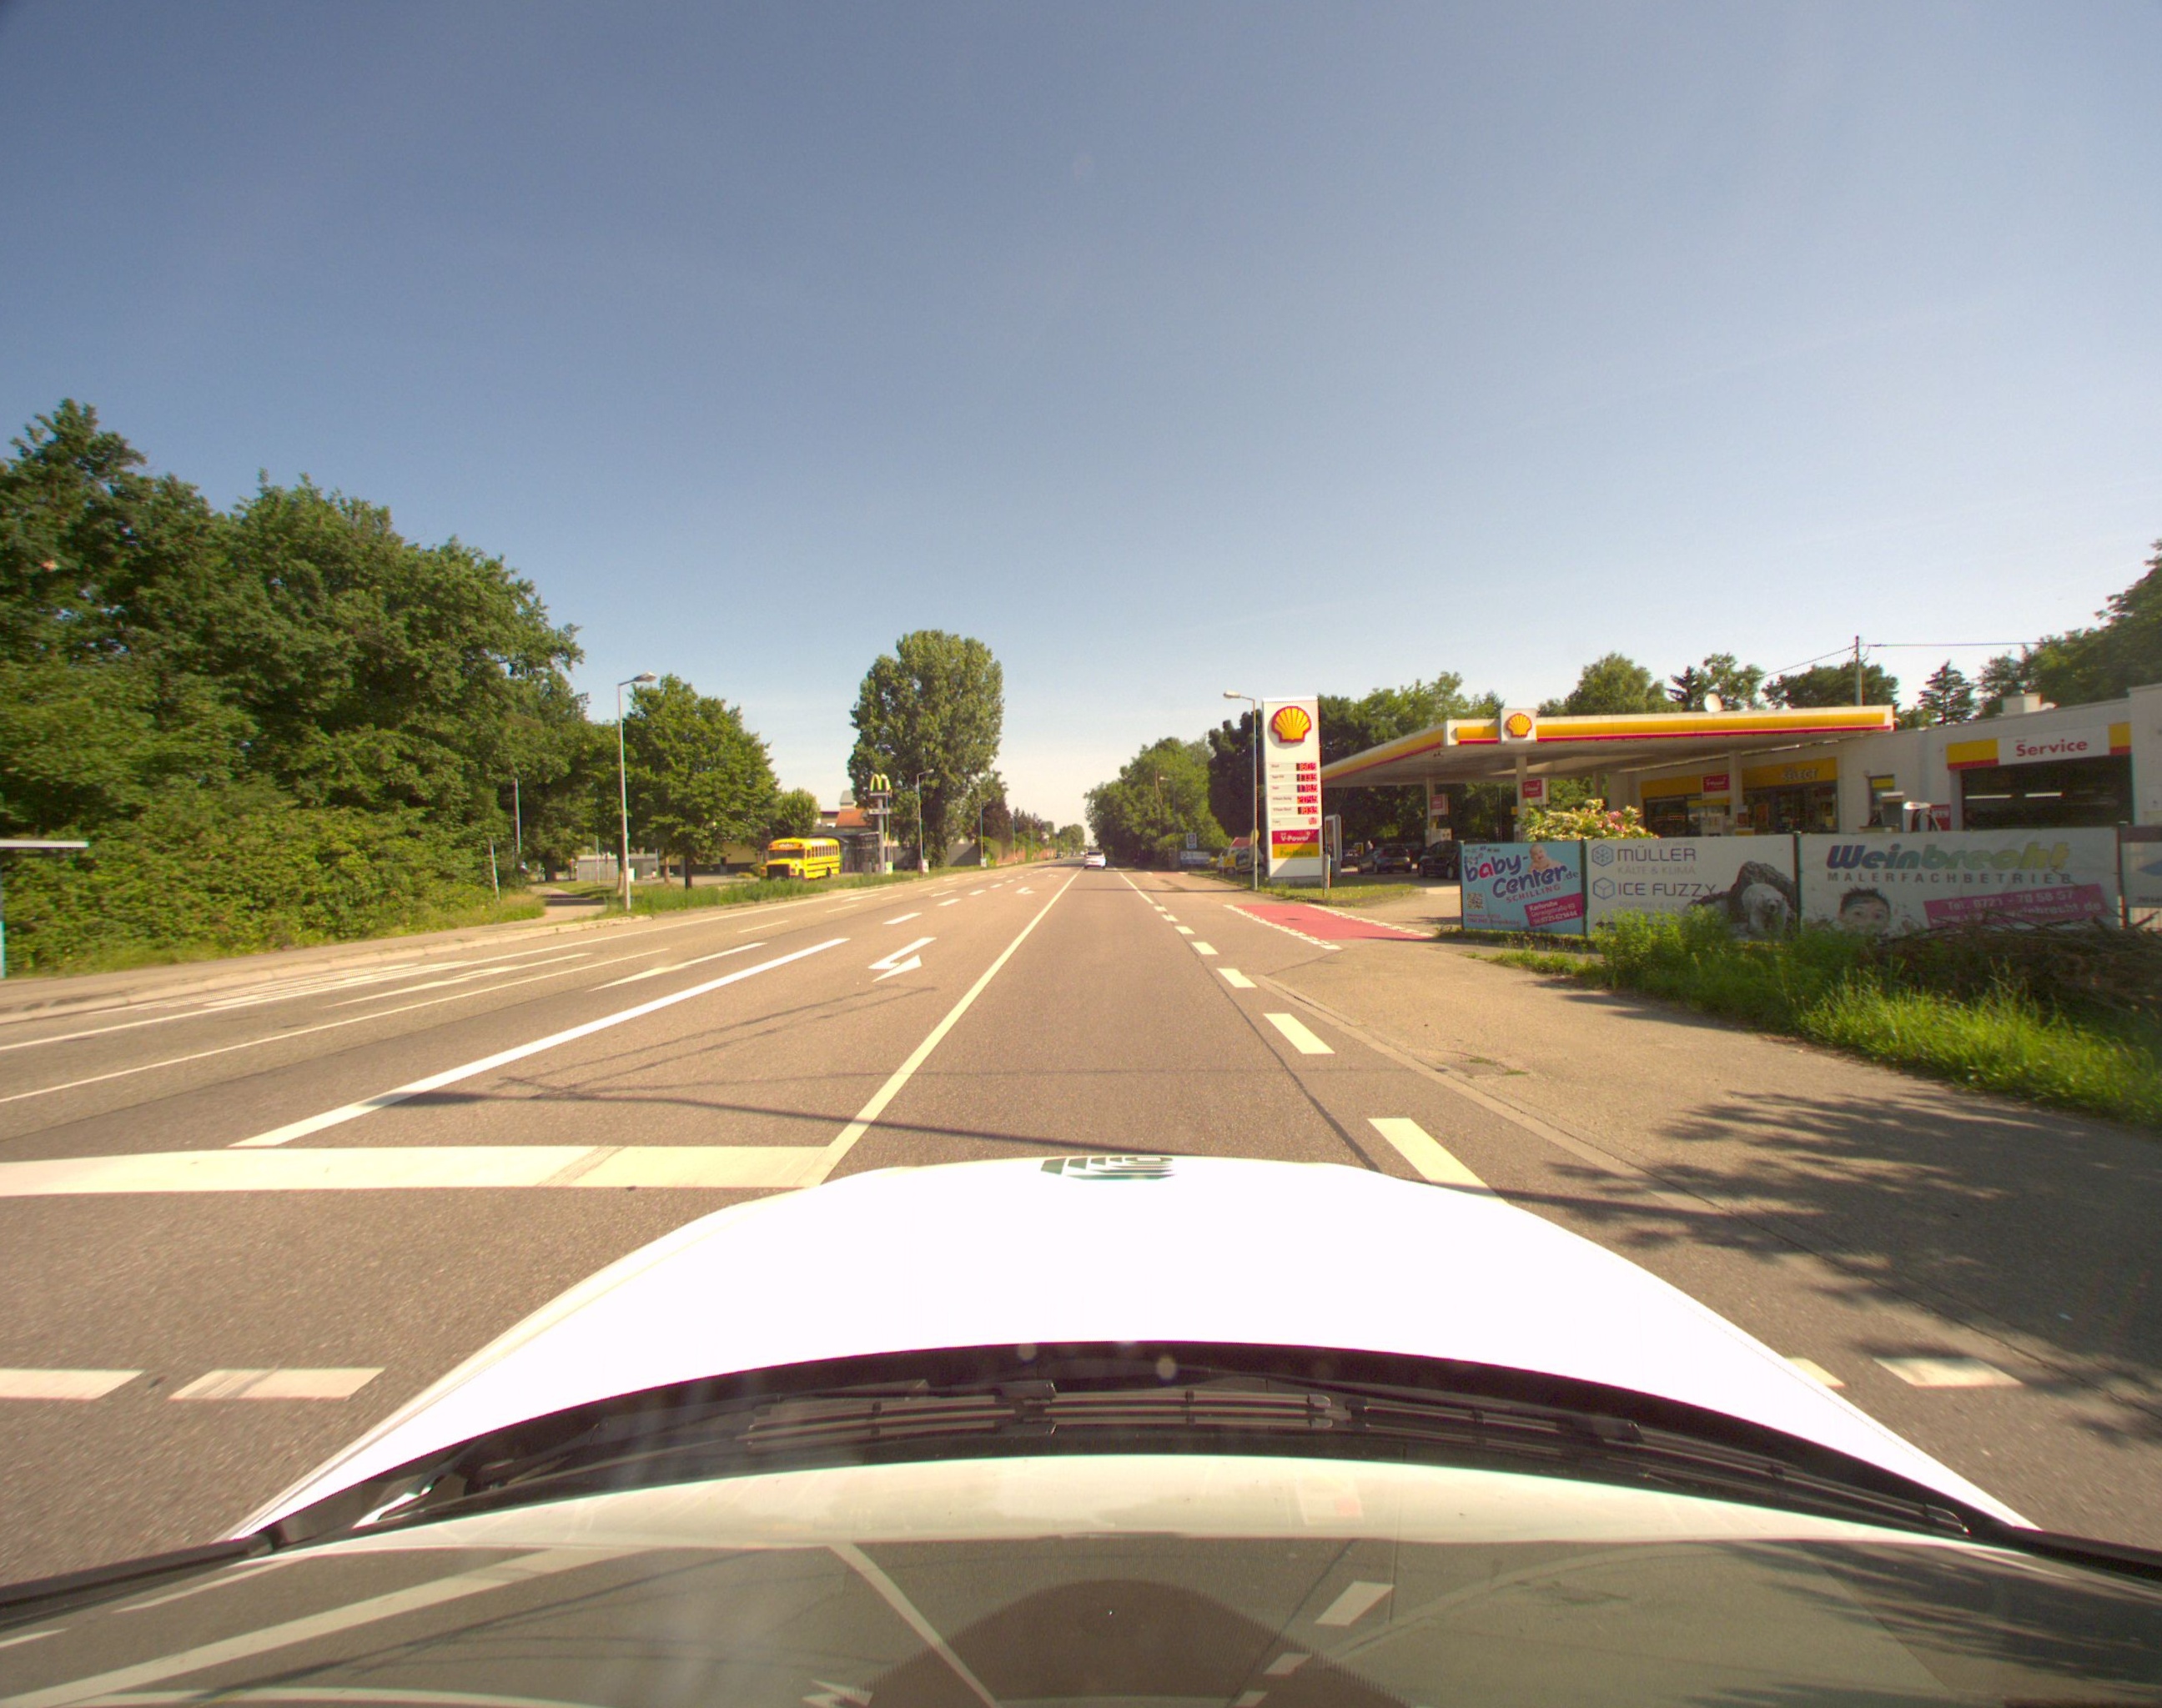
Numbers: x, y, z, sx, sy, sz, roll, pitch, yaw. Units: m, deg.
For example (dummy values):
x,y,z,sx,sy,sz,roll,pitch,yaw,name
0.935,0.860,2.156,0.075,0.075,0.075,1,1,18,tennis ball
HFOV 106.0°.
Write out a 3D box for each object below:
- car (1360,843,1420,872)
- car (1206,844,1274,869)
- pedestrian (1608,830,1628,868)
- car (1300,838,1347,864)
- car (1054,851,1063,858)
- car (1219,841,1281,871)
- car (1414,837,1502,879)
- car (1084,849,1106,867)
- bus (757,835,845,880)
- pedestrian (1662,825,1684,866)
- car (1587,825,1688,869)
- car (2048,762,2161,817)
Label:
x,y,z,sx,sy,sz,roll,pitch,yaw,name
15.640,0.158,41.427,1.790,1.360,3.852,-2,0,4,car
10.014,0.174,51.396,3.982,1.530,1.582,0,0,-7,car
22.904,-0.216,34.743,0.497,1.593,0.476,-2,0,4,pedestrian
17.056,-0.207,57.469,1.988,1.766,3.997,0,0,-2,car
-5.717,0.119,205.444,1.840,1.496,4.913,-3,0,1,car
8.830,0.132,42.636,1.587,1.530,2.697,1,-2,-45,car
15.449,0.156,33.601,1.754,1.578,3.877,-2,0,0,car
1.254,0.341,72.221,1.840,1.541,4.225,0,0,1,car
-17.763,0.226,52.375,2.571,2.679,8.993,0,0,-1,bus
24.135,-0.348,33.216,0.472,1.668,0.501,-2,0,2,pedestrian
24.085,-0.268,35.430,1.819,1.728,4.005,-2,0,5,car
31.718,-1.900,24.166,3.971,1.486,1.653,0,0,2,car
